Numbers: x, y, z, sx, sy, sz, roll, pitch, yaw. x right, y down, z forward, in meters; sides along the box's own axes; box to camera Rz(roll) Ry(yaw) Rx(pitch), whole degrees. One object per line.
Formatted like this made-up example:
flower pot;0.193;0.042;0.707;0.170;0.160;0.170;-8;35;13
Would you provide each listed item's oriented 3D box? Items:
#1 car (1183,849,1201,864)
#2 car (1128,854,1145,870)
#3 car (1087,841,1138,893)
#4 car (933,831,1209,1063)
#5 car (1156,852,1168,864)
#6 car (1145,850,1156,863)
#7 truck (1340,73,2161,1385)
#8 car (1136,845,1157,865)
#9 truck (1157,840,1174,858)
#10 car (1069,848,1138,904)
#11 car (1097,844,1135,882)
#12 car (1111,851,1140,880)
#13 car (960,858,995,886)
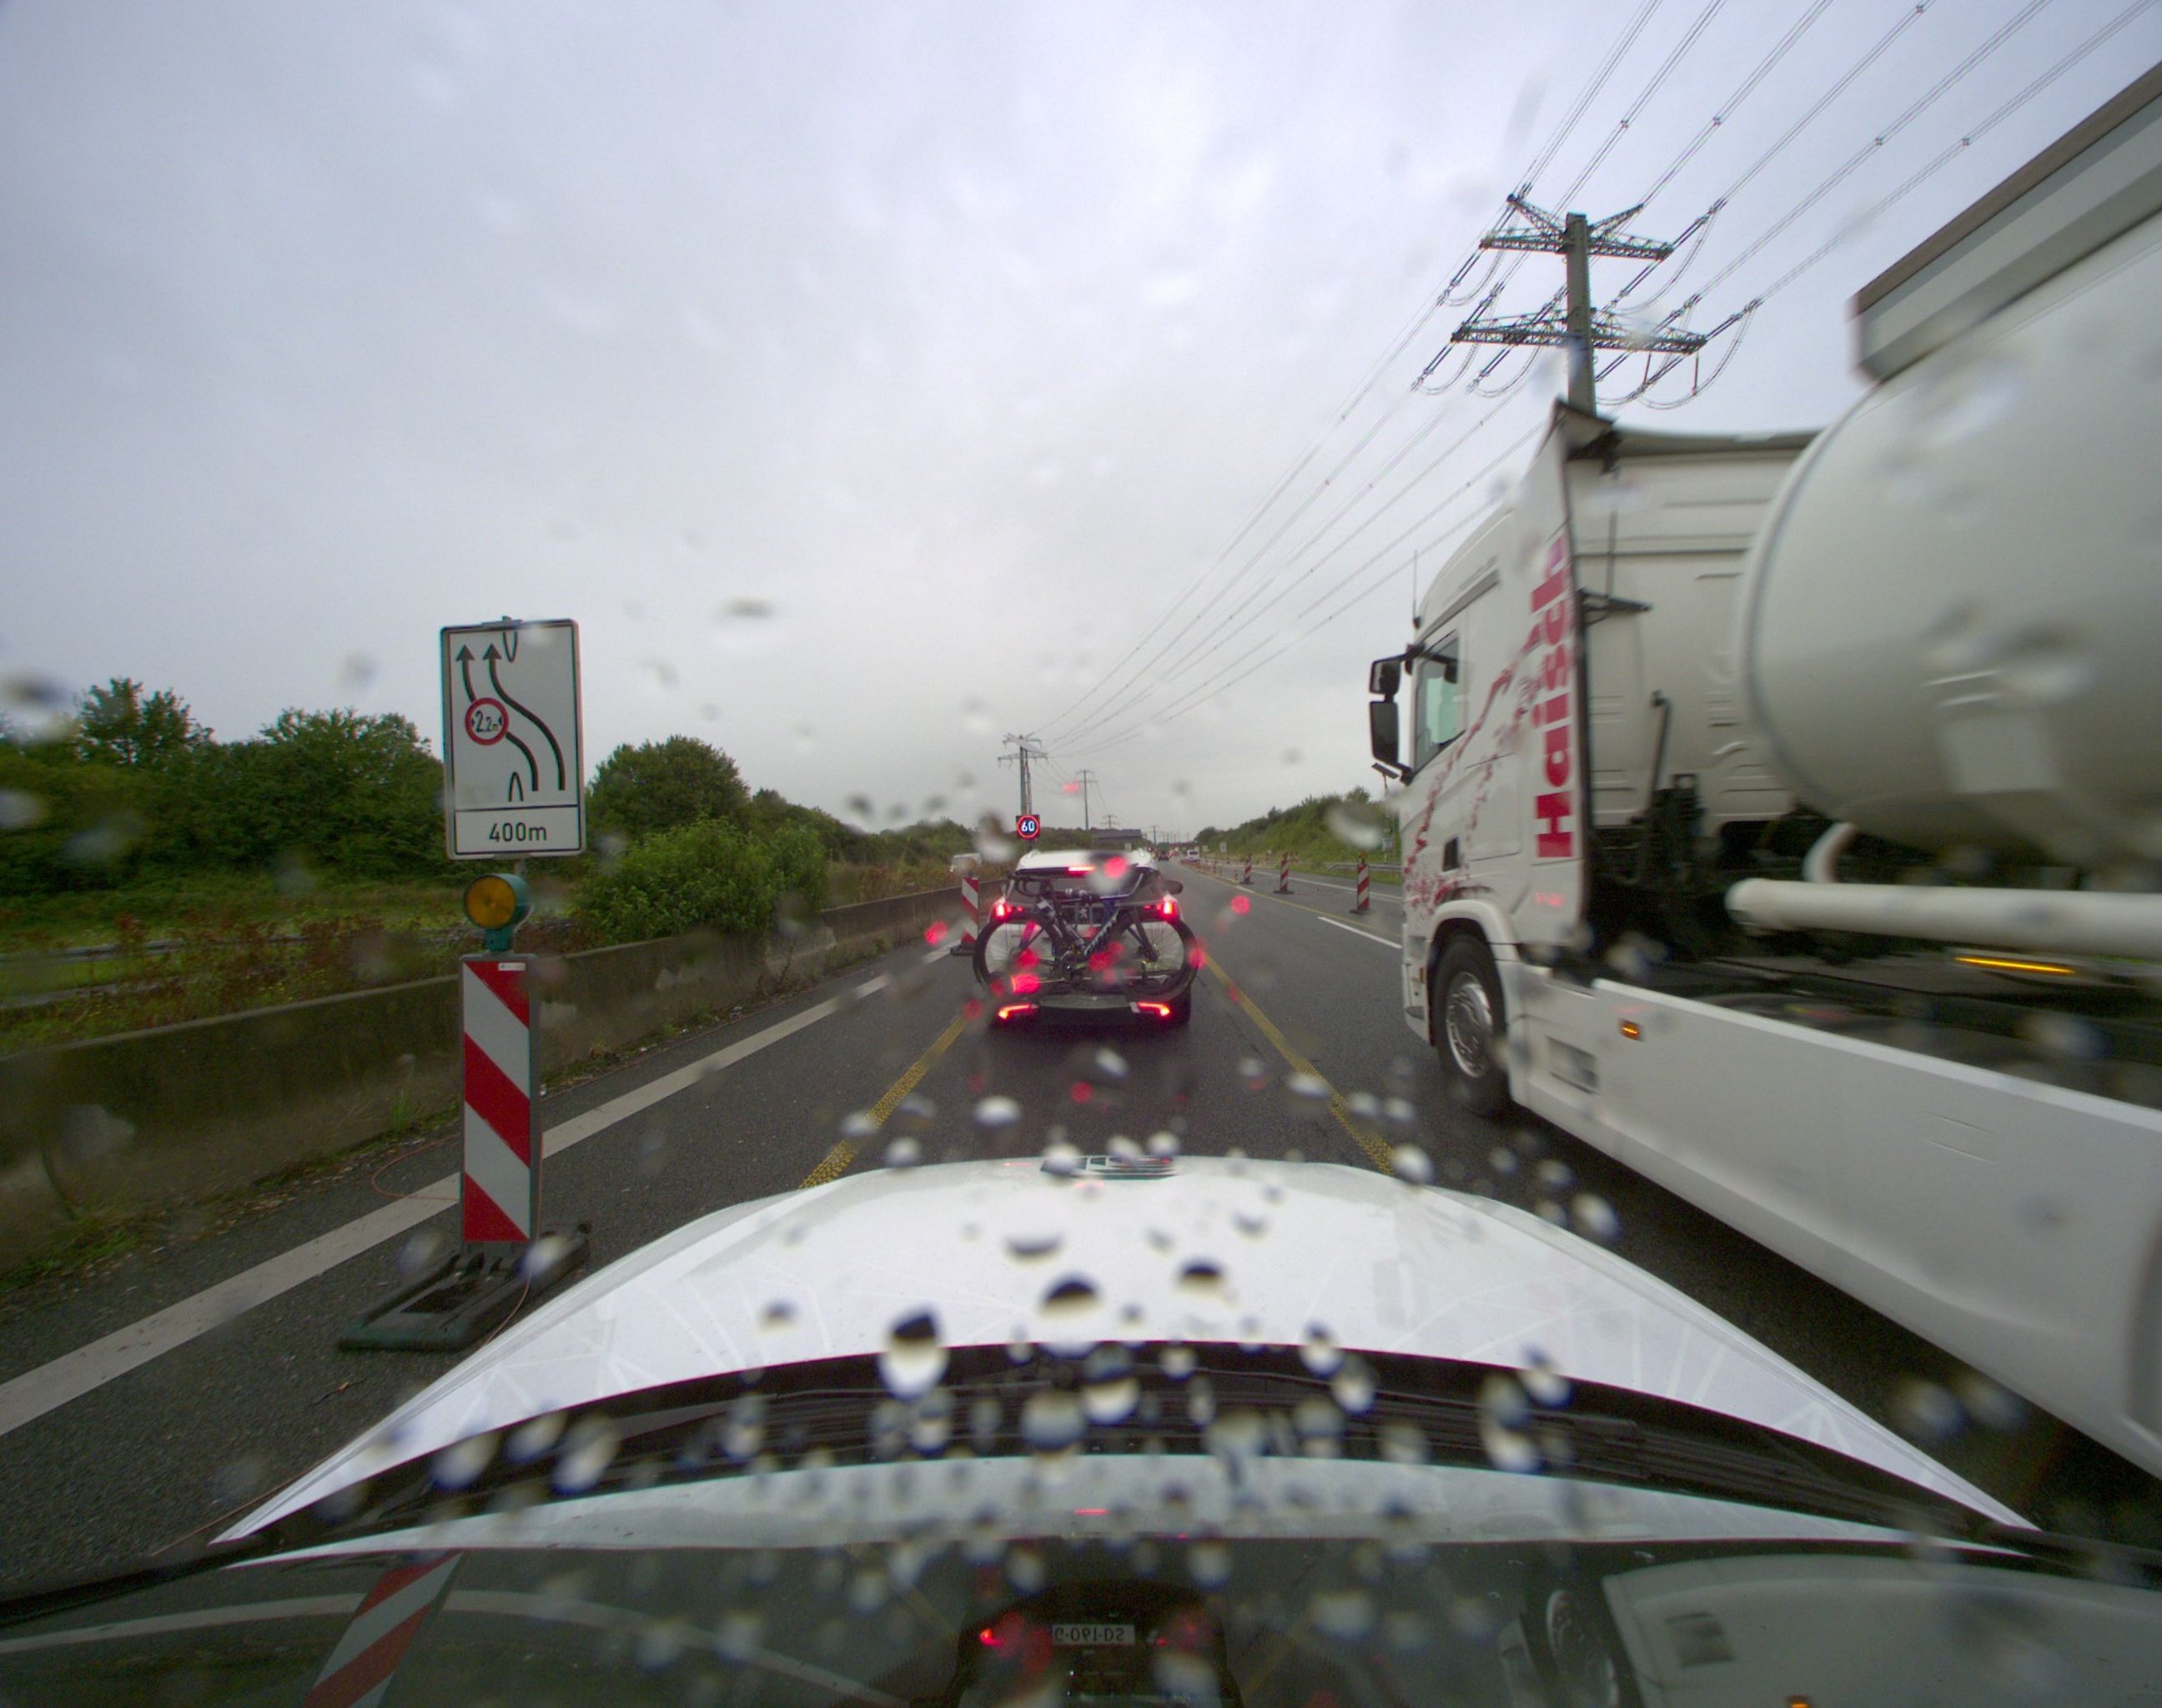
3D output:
car;15.729;0.365;115.747;1.986;2.013;4.002;-3;0;2
car;7.069;1.069;103.917;1.986;2.014;4.001;0;-1;2
car;1.349;0.512;35.118;1.986;2.013;4.002;-3;0;2
car;0.085;0.657;8.012;1.919;1.611;4.600;-1;0;4
car;14.477;0.747;145.625;1.986;2.014;4.001;0;-1;2
car;11.253;0.362;132.457;1.645;2.013;4.007;-1;0;6
truck;3.331;-0.375;4.422;2.635;3.891;4.031;0;-1;2
car;7.294;0.159;90.438;1.987;2.014;4.000;-3;-2;1
truck;20.304;-1.279;195.785;3.715;3.821;11.884;0;3;4
car;0.724;0.643;25.804;1.986;1.584;4.002;-1;0;2
car;1.984;0.477;46.038;1.986;2.013;4.002;-2;0;2
car;3.095;0.809;57.690;1.986;2.014;4.001;0;-1;2
car;-10.296;1.751;81.602;2.229;2.440;5.891;-2;0;5
